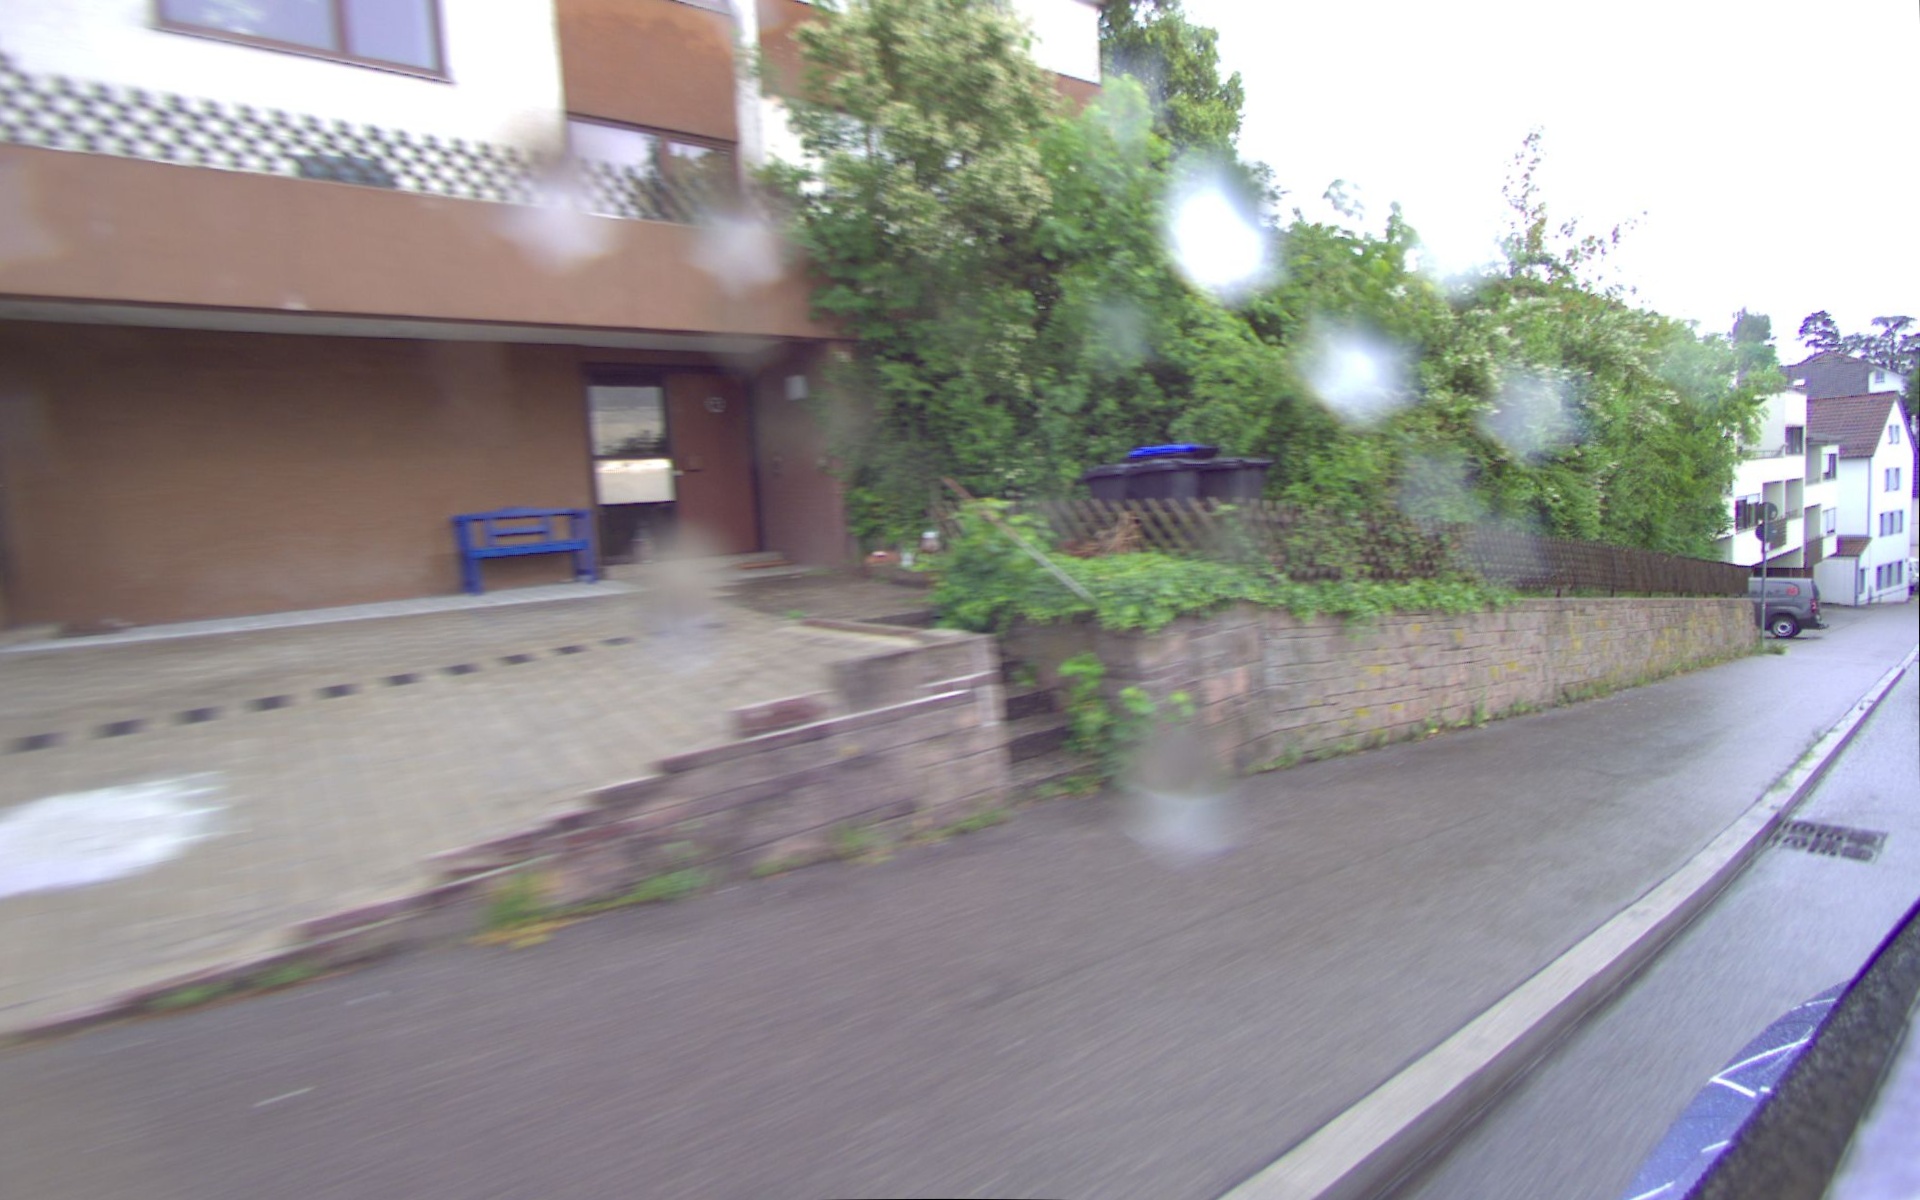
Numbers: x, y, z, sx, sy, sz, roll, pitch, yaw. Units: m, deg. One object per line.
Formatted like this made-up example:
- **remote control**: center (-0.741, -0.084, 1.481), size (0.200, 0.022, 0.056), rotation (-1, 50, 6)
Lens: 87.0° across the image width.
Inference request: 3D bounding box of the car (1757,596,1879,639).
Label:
- **car**: center (33.913, 0.648, 40.029), size (3.981, 1.598, 1.791), rotation (0, 0, -17)

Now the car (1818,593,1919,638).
- **car**: center (34.398, 0.541, 37.404), size (3.985, 1.598, 1.790), rotation (0, 0, -6)

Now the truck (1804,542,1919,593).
- **truck**: center (60.536, -2.176, 66.748), size (2.097, 2.733, 6.998), rotation (0, 8, -29)

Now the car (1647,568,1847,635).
- **car**: center (24.742, -0.015, 31.947), size (1.967, 1.842, 4.712), rotation (0, 3, -44)
